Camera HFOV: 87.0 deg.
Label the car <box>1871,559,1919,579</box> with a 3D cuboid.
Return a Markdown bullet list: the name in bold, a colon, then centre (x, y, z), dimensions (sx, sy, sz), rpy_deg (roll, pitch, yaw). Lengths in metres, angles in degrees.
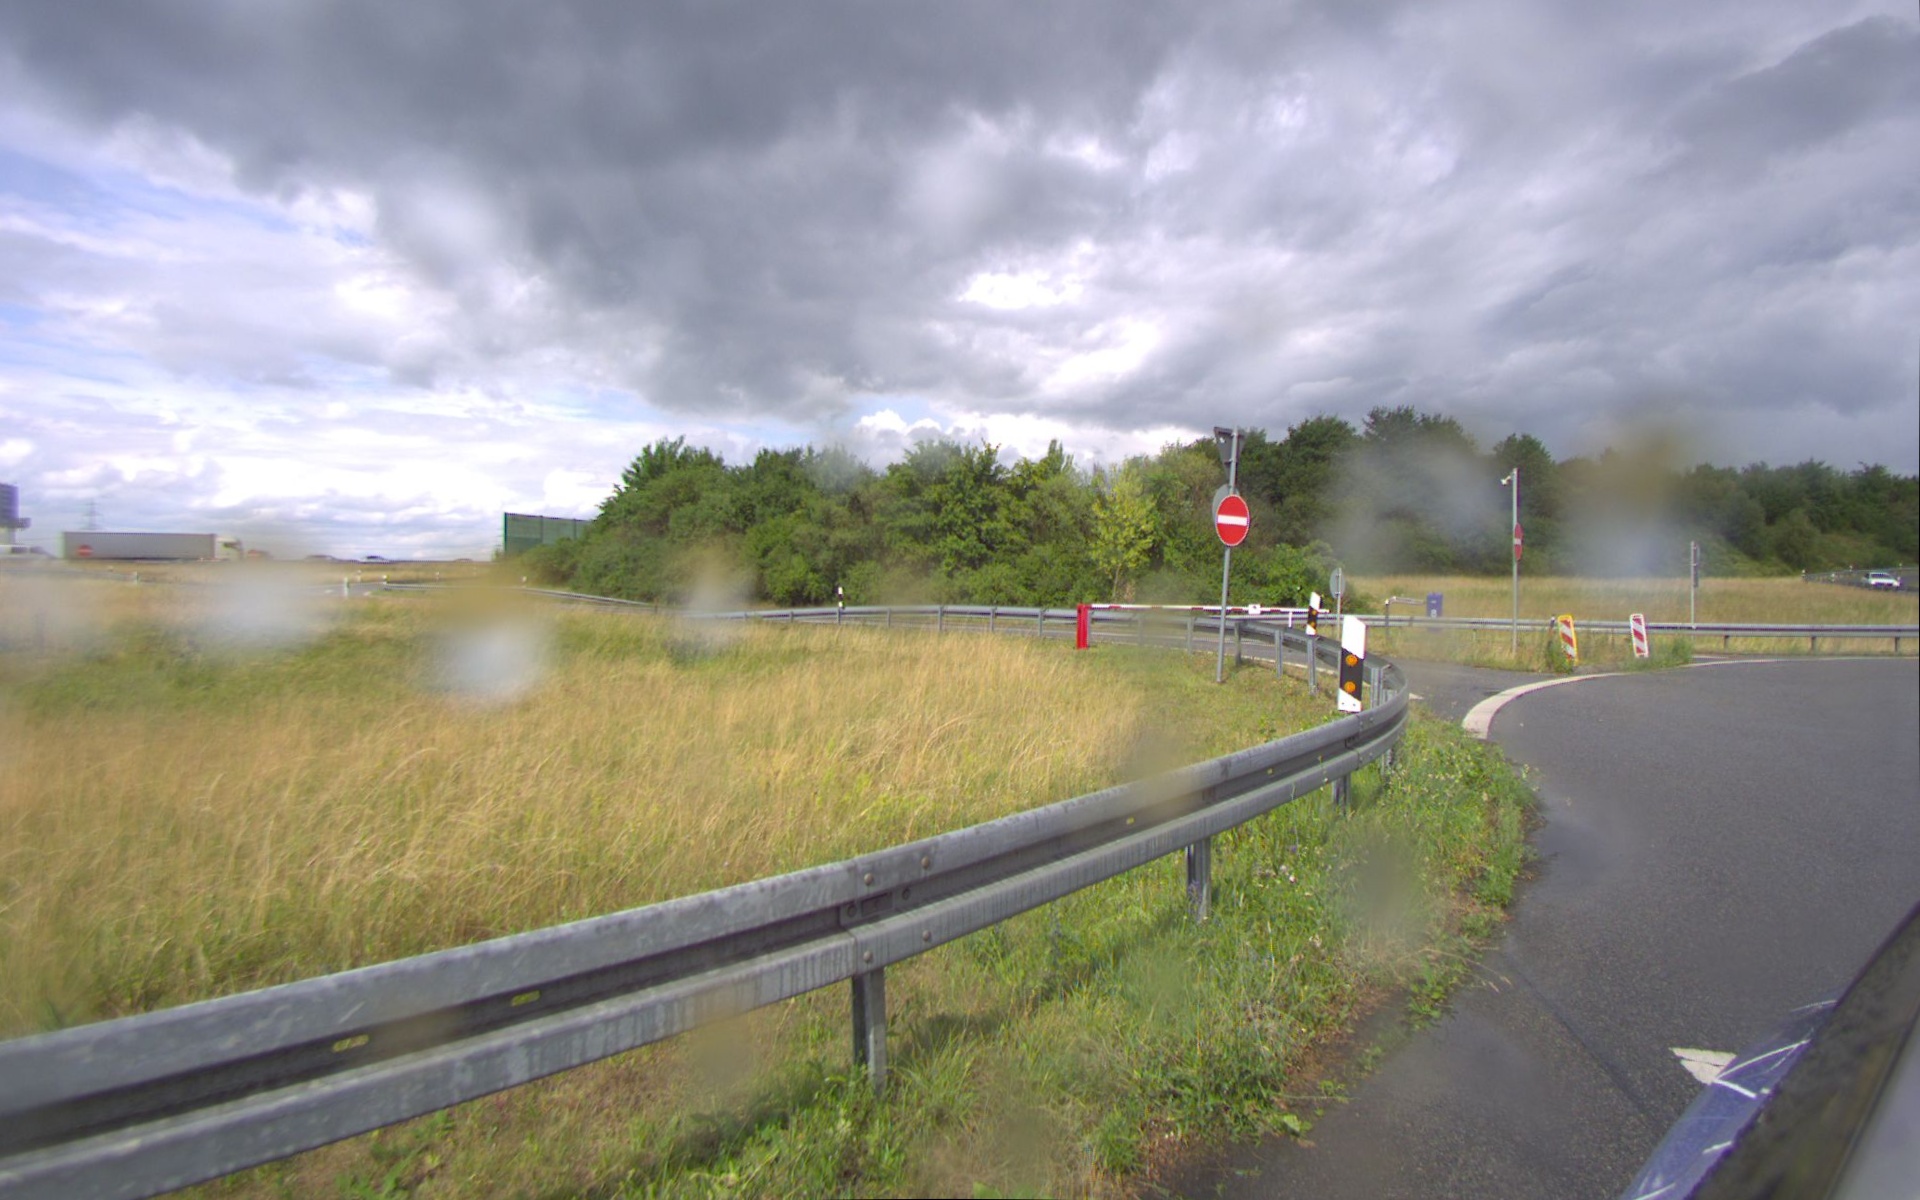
- **car**: centre (76.183, -2.473, 82.115), dimensions (3.847, 1.556, 1.981), rpy_deg (0, 1, -25)
